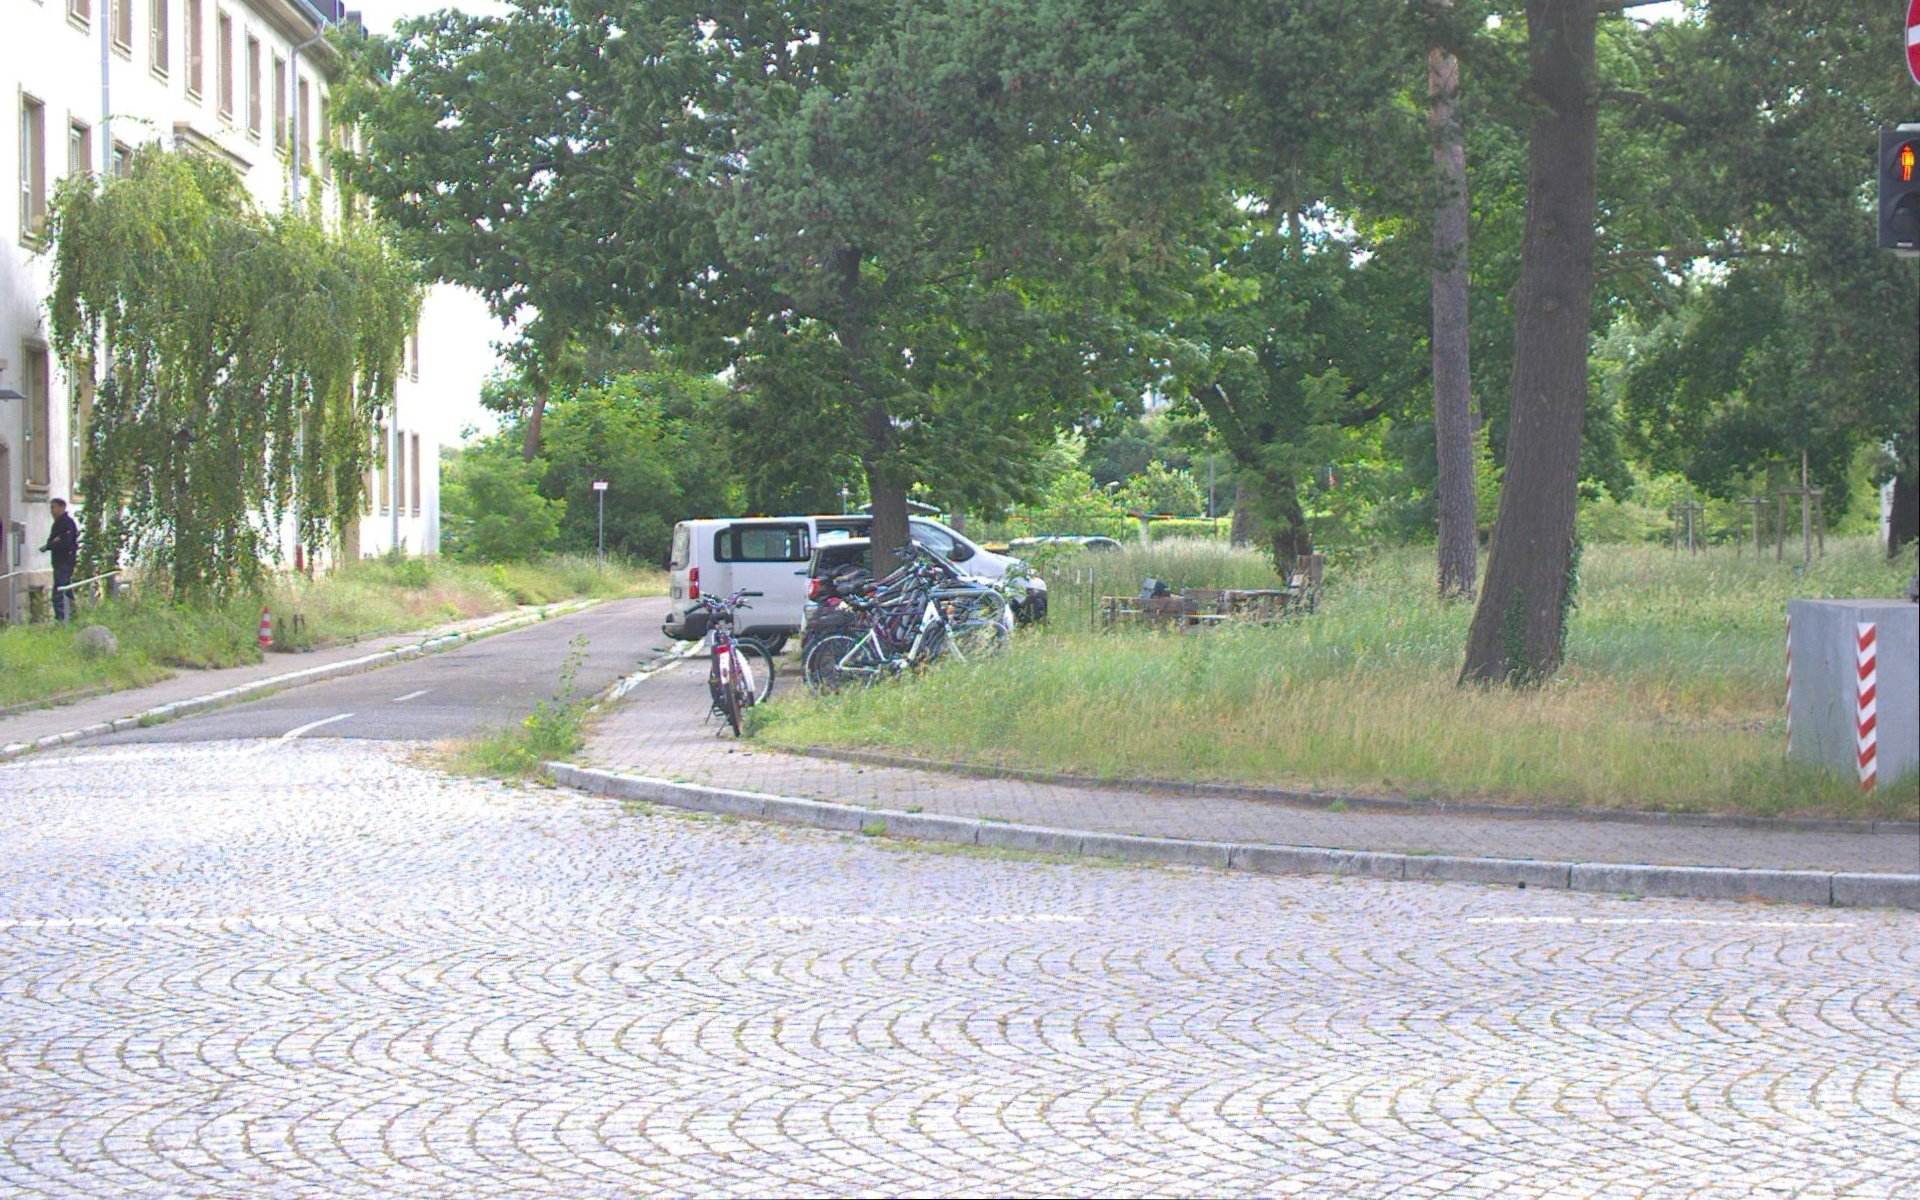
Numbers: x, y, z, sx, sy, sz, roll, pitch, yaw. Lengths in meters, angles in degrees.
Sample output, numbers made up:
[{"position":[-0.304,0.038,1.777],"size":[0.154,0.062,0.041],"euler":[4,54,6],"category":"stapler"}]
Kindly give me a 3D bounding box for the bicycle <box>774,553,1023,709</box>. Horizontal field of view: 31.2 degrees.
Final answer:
[{"position":[-0.537,0.256,29.609],"size":[2.113,1.302,0.874],"euler":[0,1,-2],"category":"bicycle"}]

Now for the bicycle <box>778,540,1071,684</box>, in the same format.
[{"position":[-0.357,0.107,33.453],"size":[2.802,1.367,0.951],"euler":[0,1,-2],"category":"bicycle"}]

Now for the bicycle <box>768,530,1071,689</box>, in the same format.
[{"position":[-0.368,0.076,30.222],"size":[2.619,1.362,0.874],"euler":[0,1,-2],"category":"bicycle"}]

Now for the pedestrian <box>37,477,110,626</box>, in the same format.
[{"position":[-11.701,-0.644,45.387],"size":[0.865,1.925,0.837],"euler":[1,1,-13],"category":"pedestrian"}]

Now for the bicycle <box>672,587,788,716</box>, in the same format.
[{"position":[-1.879,0.403,28.291],"size":[0.727,0.993,1.979],"euler":[0,1,3],"category":"bicycle"}]

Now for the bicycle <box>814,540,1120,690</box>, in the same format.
[{"position":[0.047,0.129,32.034],"size":[2.802,1.367,0.951],"euler":[0,1,-2],"category":"bicycle"}]

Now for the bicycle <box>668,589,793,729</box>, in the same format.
[{"position":[-1.733,0.428,26.202],"size":[0.900,0.993,1.979],"euler":[0,1,-3],"category":"bicycle"}]

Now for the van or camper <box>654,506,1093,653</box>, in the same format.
[{"position":[-1.226,-0.311,47.708],"size":[5.740,1.950,2.238],"euler":[-1,1,-14],"category":"van or camper"}]

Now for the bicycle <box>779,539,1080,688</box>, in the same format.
[{"position":[-0.298,0.117,32.560],"size":[2.802,1.367,0.951],"euler":[0,1,-2],"category":"bicycle"}]

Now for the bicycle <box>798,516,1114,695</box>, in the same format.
[{"position":[-0.051,0.043,31.100],"size":[2.802,1.578,0.951],"euler":[0,1,-2],"category":"bicycle"}]

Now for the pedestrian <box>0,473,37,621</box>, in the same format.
[{"position":[-12.516,-0.688,44.116],"size":[1.194,1.863,1.550],"euler":[1,1,-12],"category":"pedestrian"}]

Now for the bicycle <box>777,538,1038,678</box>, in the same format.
[{"position":[-0.537,0.065,34.411],"size":[2.567,1.367,0.951],"euler":[0,1,-3],"category":"bicycle"}]

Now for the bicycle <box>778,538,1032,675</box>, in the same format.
[{"position":[-0.578,0.055,35.251],"size":[2.567,1.367,0.951],"euler":[0,1,-3],"category":"bicycle"}]

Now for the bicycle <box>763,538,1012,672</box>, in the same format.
[{"position":[-0.771,0.043,36.084],"size":[2.567,1.367,0.951],"euler":[0,1,-3],"category":"bicycle"}]

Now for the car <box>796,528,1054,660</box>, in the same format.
[{"position":[-0.478,-0.083,44.200],"size":[3.224,1.615,1.938],"euler":[1,1,-3],"category":"car"}]
